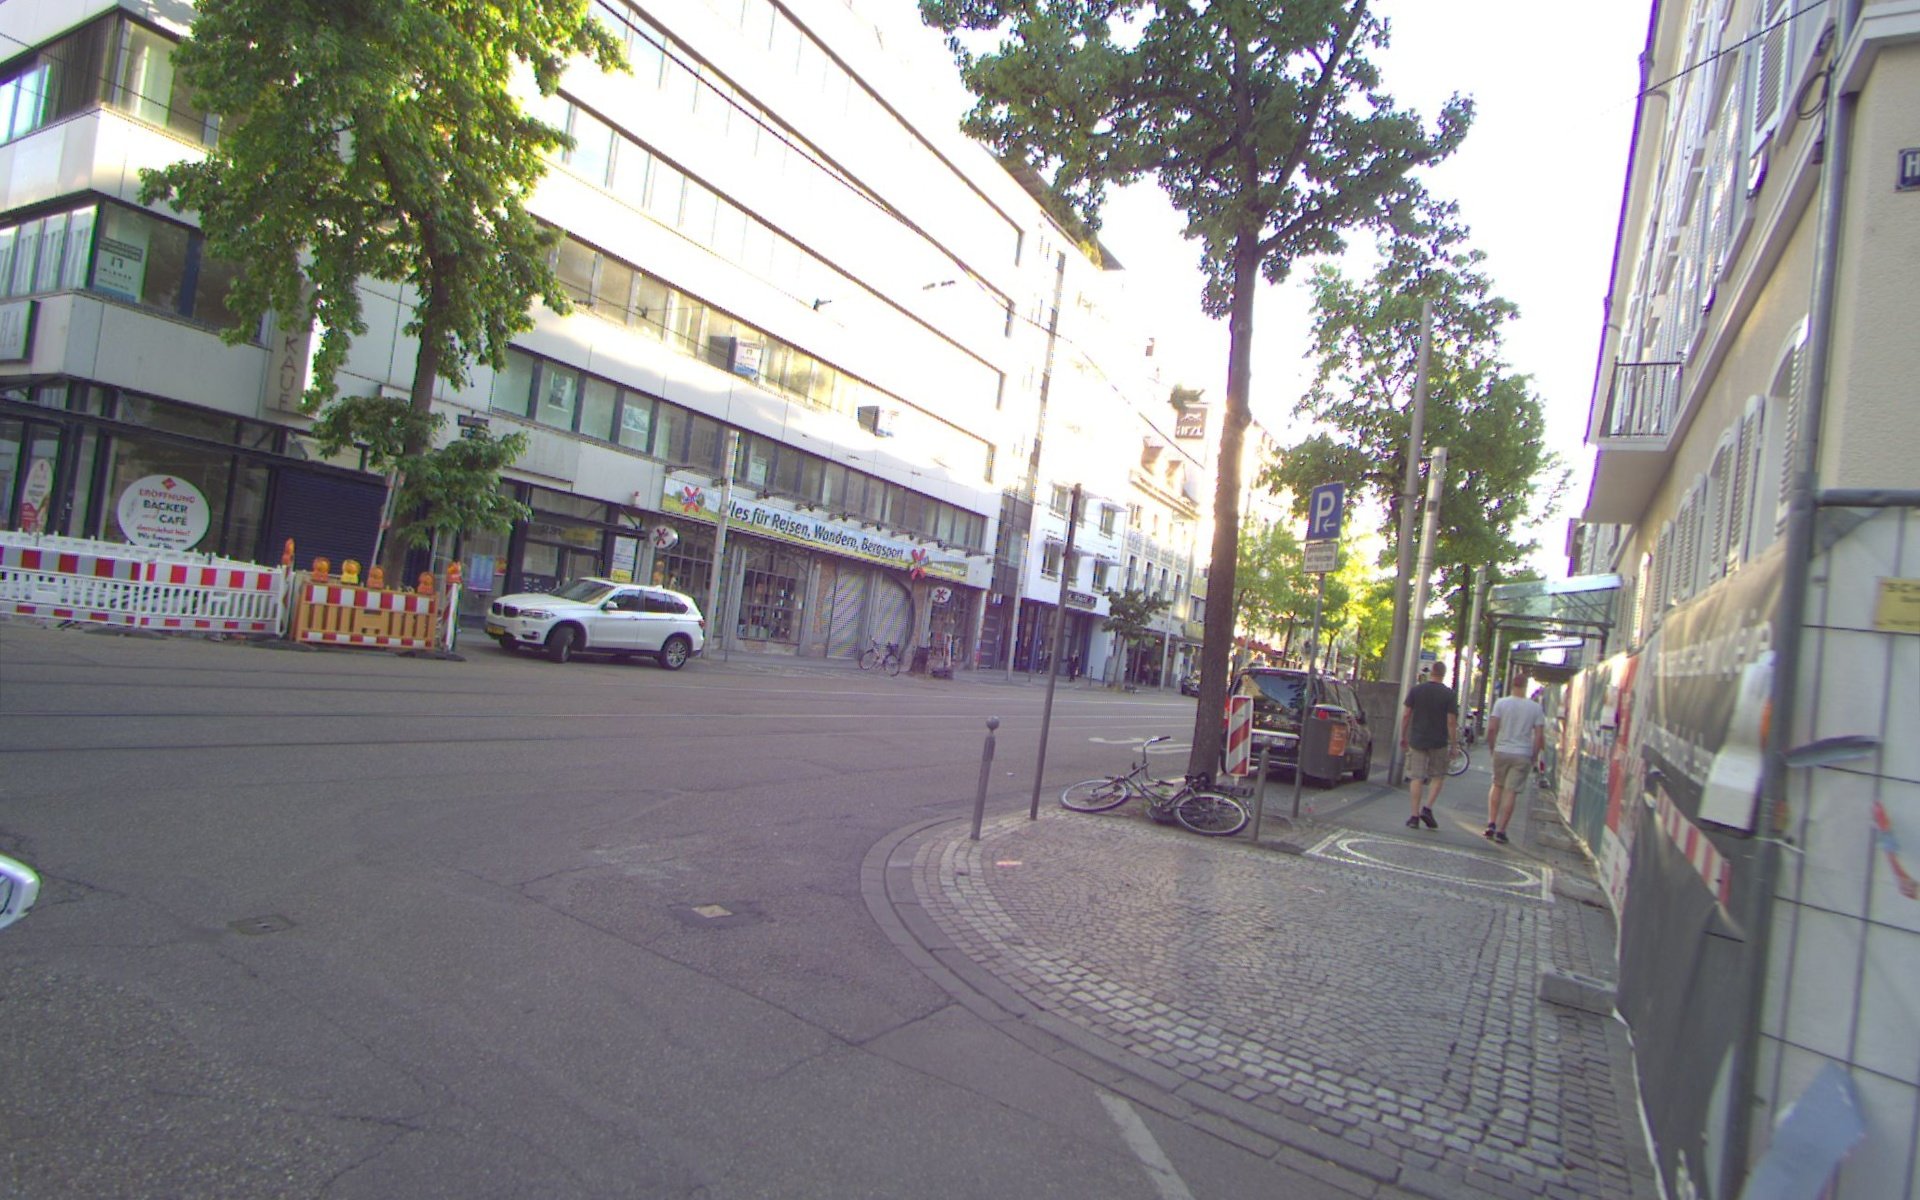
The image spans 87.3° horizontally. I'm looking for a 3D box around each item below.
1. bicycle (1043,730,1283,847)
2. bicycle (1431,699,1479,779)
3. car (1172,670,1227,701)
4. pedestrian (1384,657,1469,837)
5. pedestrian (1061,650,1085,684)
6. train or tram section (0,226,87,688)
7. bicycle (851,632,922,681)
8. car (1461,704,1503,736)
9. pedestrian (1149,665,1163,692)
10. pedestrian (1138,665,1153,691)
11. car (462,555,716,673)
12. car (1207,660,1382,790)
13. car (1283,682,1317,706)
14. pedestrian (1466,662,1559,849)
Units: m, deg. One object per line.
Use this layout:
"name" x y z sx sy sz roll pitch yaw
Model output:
"bicycle" 2.046 1.820 10.024 2.040 0.714 1.331 6 -3 25
"bicycle" 10.830 3.018 21.980 0.692 1.568 2.182 5 -3 30
"car" 14.320 5.127 60.024 1.970 1.378 4.101 9 -1 30
"pedestrian" 5.353 1.654 11.518 0.669 1.906 0.768 4 -2 32
"pedestrian" 5.603 3.306 49.812 0.718 1.577 0.837 8 0 33
"train or tram section" -11.165 -1.687 4.475 2.976 3.564 10.358 7 -2 31
"bicycle" -2.322 1.770 31.807 2.132 1.173 0.759 10 1 37
"car" 31.201 7.153 60.076 1.966 1.520 4.101 6 -2 30
"pedestrian" 12.145 4.867 62.397 0.470 1.575 0.747 8 0 31
"pedestrian" 11.549 4.856 62.644 0.470 1.566 0.747 7 0 31
"car" -7.716 0.384 21.420 1.967 1.791 4.664 9 -1 33
"car" 5.740 2.079 16.987 1.746 1.784 3.871 4 -4 34
"car" 28.085 7.771 83.108 1.870 1.712 4.103 7 -2 28
"pedestrian" 6.139 1.690 11.162 0.747 1.906 0.878 4 -2 31
